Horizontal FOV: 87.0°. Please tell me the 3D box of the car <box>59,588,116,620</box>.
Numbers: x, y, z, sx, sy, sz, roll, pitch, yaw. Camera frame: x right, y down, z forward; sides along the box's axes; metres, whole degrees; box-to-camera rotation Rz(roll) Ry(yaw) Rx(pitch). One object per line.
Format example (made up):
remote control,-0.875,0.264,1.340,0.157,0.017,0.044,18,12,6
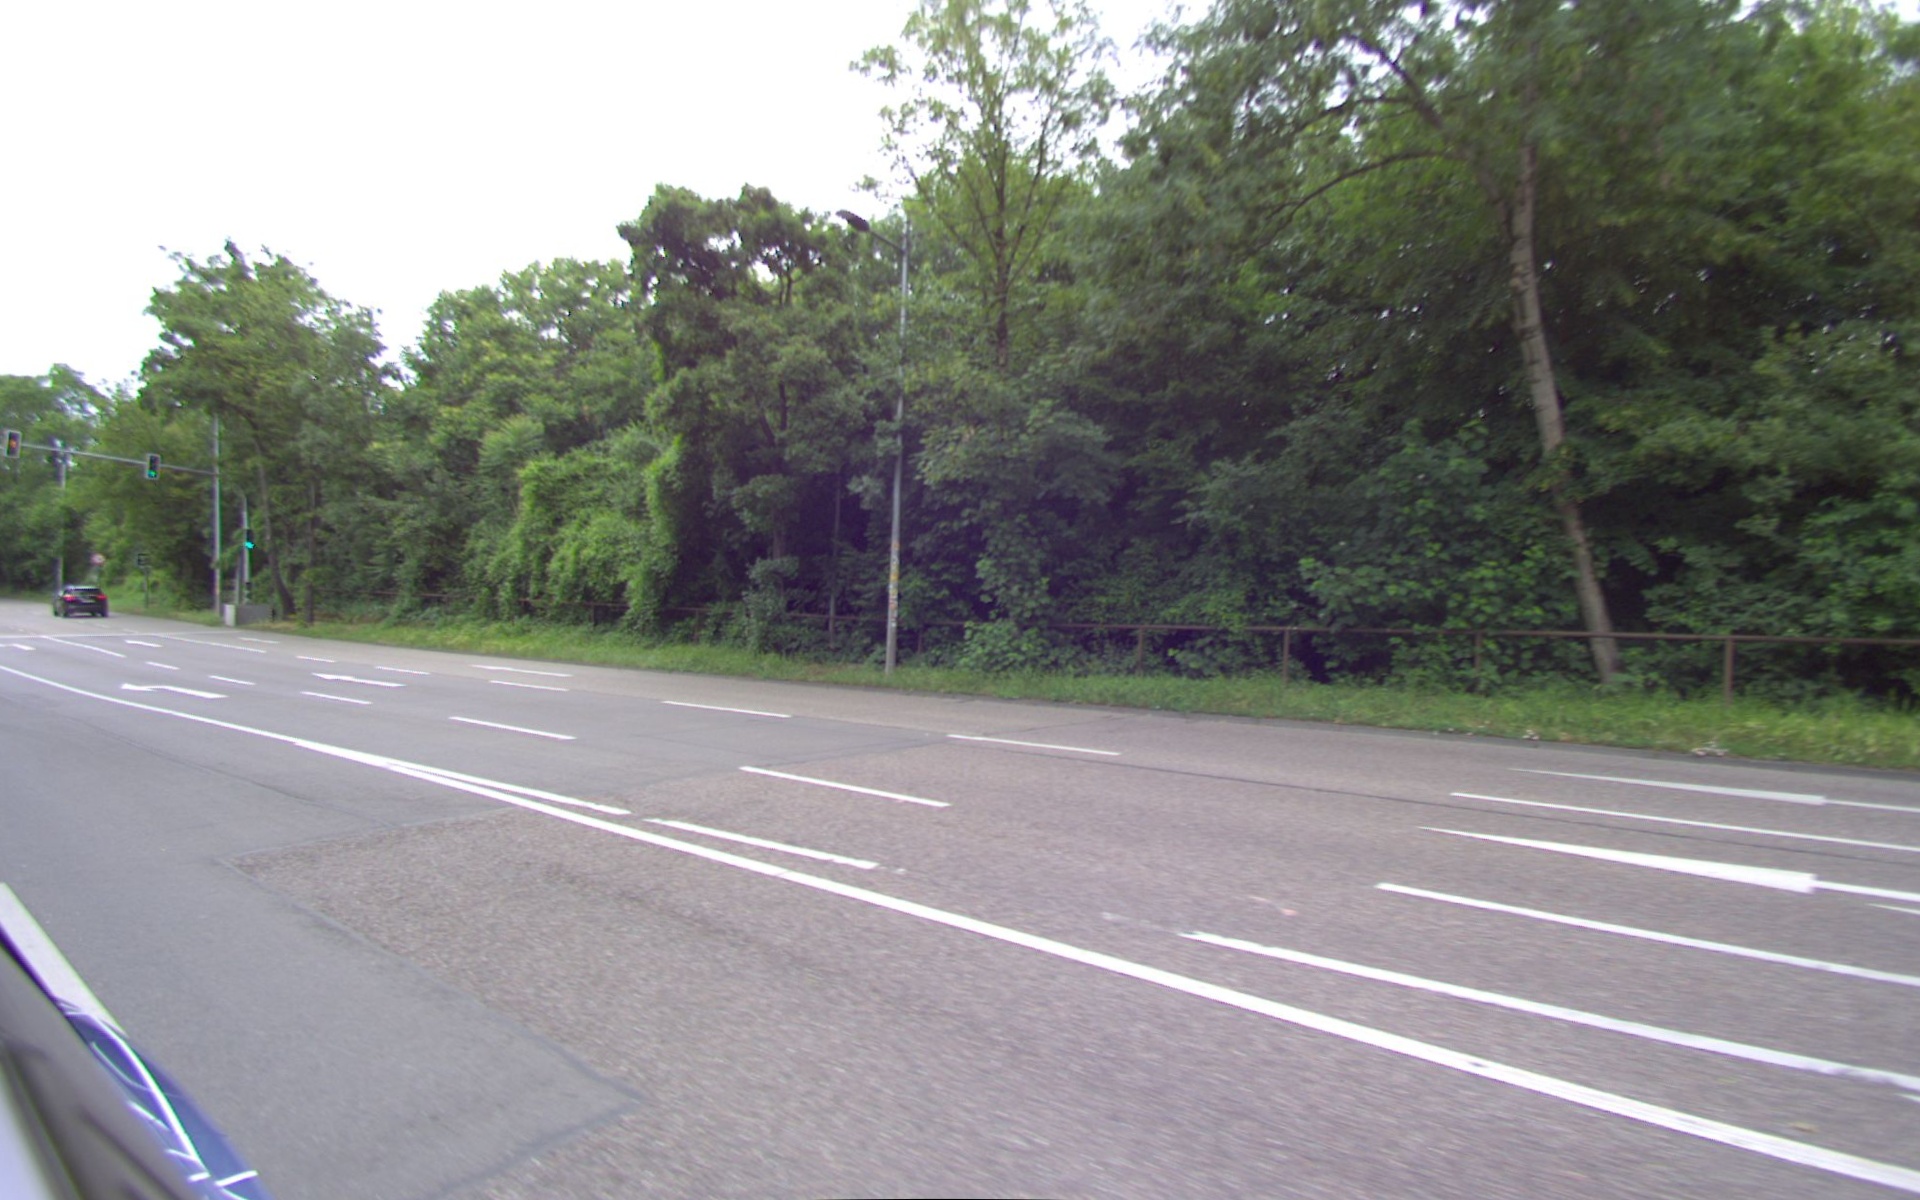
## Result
car,-46.672,0.186,54.085,4.220,1.666,1.803,0,0,42
